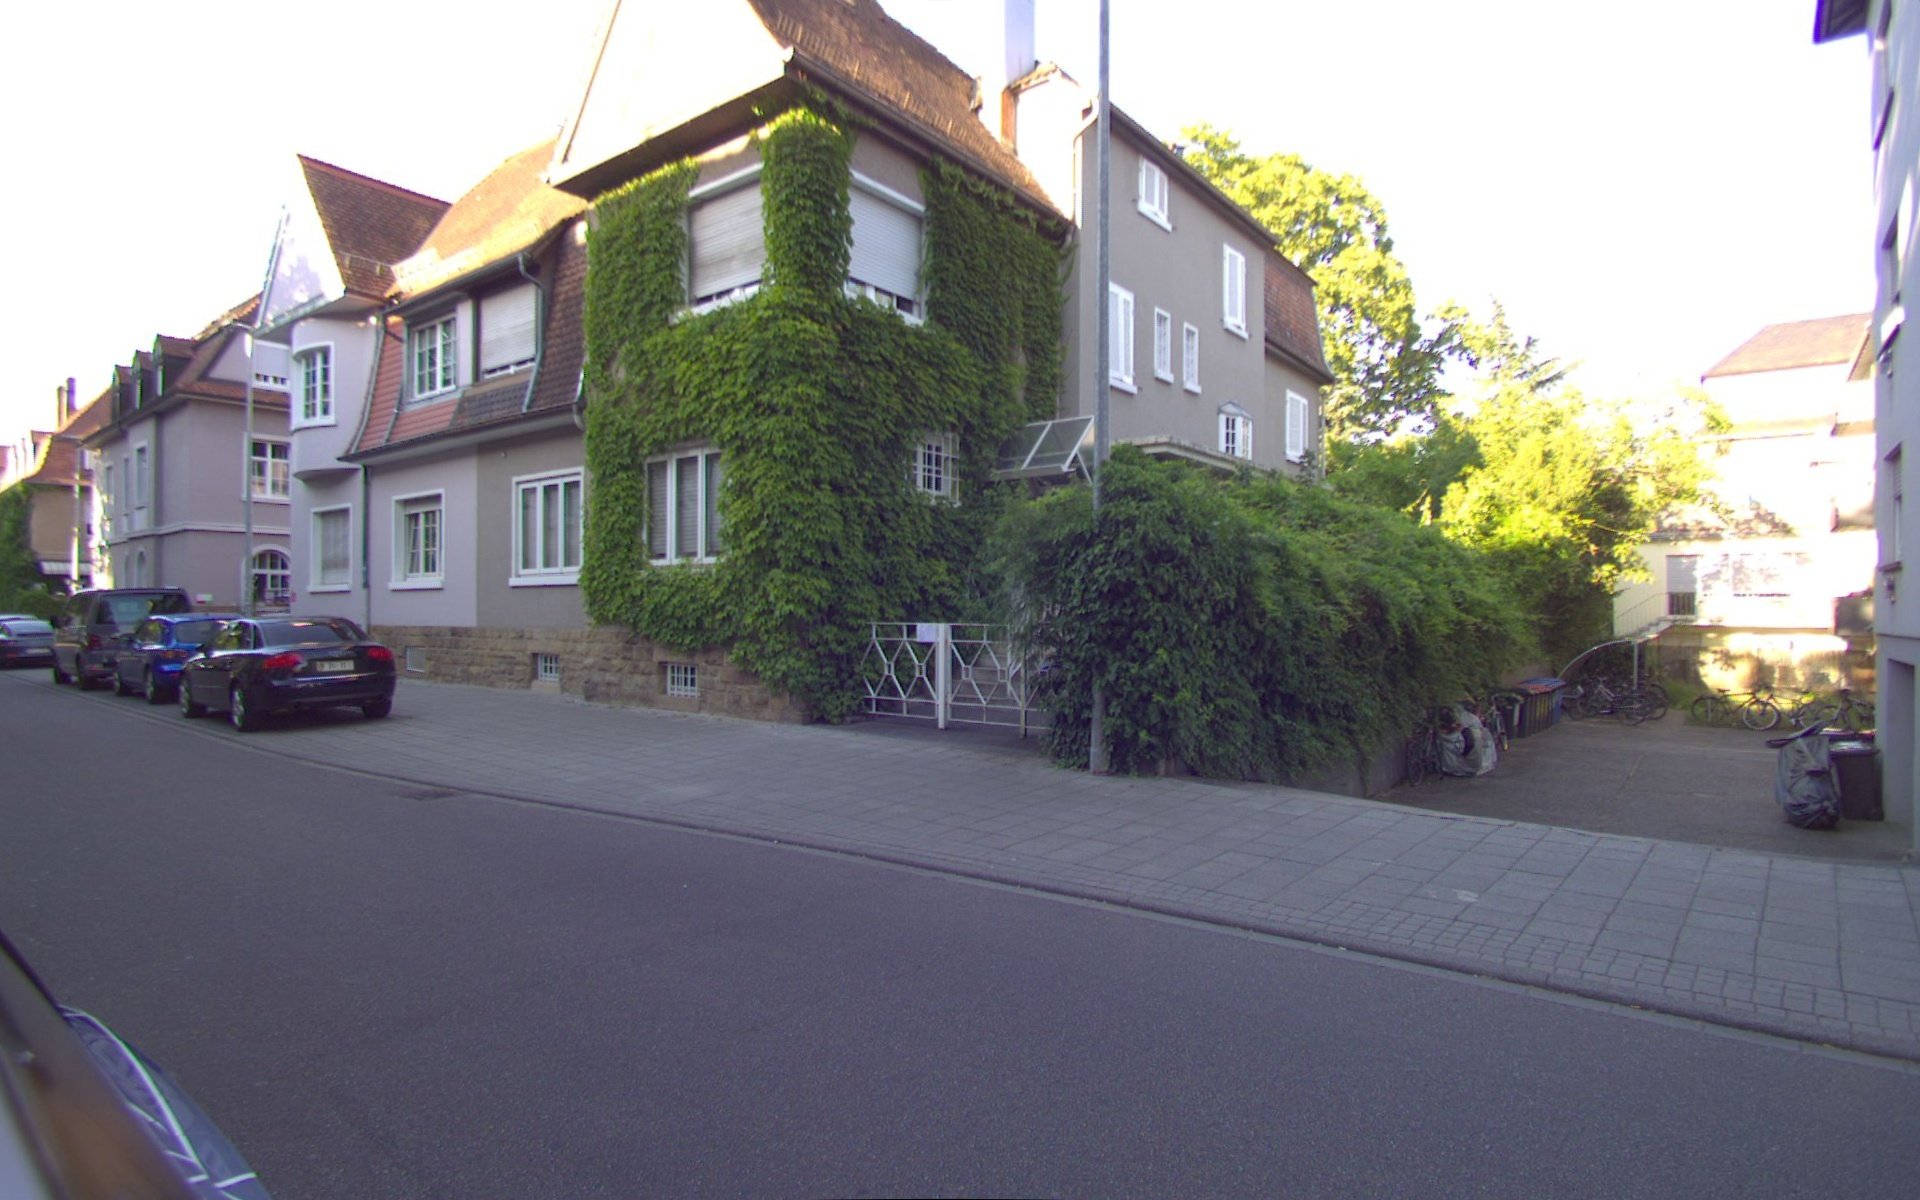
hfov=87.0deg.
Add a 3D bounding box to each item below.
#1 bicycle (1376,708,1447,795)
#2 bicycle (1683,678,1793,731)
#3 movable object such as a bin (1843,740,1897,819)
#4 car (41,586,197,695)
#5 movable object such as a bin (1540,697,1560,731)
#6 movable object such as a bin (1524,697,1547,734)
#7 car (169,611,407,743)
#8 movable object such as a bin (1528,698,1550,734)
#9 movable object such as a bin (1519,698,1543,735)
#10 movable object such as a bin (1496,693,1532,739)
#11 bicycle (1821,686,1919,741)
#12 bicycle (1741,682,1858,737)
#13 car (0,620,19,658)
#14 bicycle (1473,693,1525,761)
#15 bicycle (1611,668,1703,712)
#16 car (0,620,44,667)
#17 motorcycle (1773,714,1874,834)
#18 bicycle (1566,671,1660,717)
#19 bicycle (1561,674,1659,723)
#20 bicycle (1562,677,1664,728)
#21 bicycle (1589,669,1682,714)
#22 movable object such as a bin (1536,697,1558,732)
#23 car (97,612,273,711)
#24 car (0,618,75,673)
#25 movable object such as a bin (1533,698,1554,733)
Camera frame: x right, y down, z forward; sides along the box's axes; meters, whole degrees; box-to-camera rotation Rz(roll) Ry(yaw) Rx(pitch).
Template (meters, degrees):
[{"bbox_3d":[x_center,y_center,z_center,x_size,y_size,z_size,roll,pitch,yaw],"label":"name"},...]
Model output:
[{"bbox_3d":[6.777,2.231,15.154,0.514,1.027,1.914,1,0,38],"label":"bicycle"},{"bbox_3d":[18.732,2.506,24.399,2.068,1.028,0.634,1,3,41],"label":"bicycle"},{"bbox_3d":[11.766,2.307,13.093,0.432,0.894,0.717,-1,-3,37],"label":"movable object such as a bin"},{"bbox_3d":[-17.534,0.762,21.027,4.308,1.987,1.698,0,2,40],"label":"car"},{"bbox_3d":[13.787,2.668,23.651,0.346,0.764,0.359,-1,-4,41],"label":"movable object such as a bin"},{"bbox_3d":[12.767,2.565,22.449,0.381,0.779,0.359,-1,-4,41],"label":"movable object such as a bin"},{"bbox_3d":[-9.313,0.928,13.896,4.023,1.439,1.729,0,2,42],"label":"car"},{"bbox_3d":[13.014,2.602,22.744,0.375,0.764,0.359,-1,-4,41],"label":"movable object such as a bin"},{"bbox_3d":[12.512,2.544,22.162,0.398,0.779,0.359,-1,-4,41],"label":"movable object such as a bin"},{"bbox_3d":[11.549,2.415,21.091,0.576,0.886,0.488,0,-3,41],"label":"movable object such as a bin"},{"bbox_3d":[20.664,2.545,22.686,2.068,1.028,0.634,1,3,41],"label":"bicycle"},{"bbox_3d":[19.580,2.525,23.650,2.068,1.028,0.634,1,3,41],"label":"bicycle"},{"bbox_3d":[-36.538,1.454,37.693,3.942,1.381,1.698,-1,0,40],"label":"car"},{"bbox_3d":[9.962,2.314,18.667,0.514,1.027,1.914,1,0,38],"label":"bicycle"},{"bbox_3d":[19.424,2.498,28.237,2.068,1.028,0.561,1,3,41],"label":"bicycle"},{"bbox_3d":[-30.294,1.344,31.951,3.942,1.381,1.522,-1,0,40],"label":"car"},{"bbox_3d":[10.727,2.118,12.622,0.757,1.261,1.575,-1,-3,34],"label":"motorcycle"},{"bbox_3d":[17.705,2.520,27.467,2.068,1.028,0.608,1,3,41],"label":"bicycle"},{"bbox_3d":[16.844,2.531,26.265,2.068,1.028,0.565,1,3,41],"label":"bicycle"},{"bbox_3d":[16.280,2.538,25.253,2.068,1.028,0.634,1,3,41],"label":"bicycle"},{"bbox_3d":[18.623,2.509,27.933,2.068,1.028,0.608,1,3,41],"label":"bicycle"},{"bbox_3d":[13.542,2.640,23.350,0.367,0.764,0.359,-1,-4,41],"label":"movable object such as a bin"},{"bbox_3d":[-13.706,0.990,17.829,4.021,1.475,1.591,0,2,40],"label":"car"},{"bbox_3d":[-26.367,1.241,28.367,4.331,1.381,1.698,-1,0,40],"label":"car"},{"bbox_3d":[13.290,2.625,23.053,0.367,0.764,0.359,-1,-4,41],"label":"movable object such as a bin"}]
